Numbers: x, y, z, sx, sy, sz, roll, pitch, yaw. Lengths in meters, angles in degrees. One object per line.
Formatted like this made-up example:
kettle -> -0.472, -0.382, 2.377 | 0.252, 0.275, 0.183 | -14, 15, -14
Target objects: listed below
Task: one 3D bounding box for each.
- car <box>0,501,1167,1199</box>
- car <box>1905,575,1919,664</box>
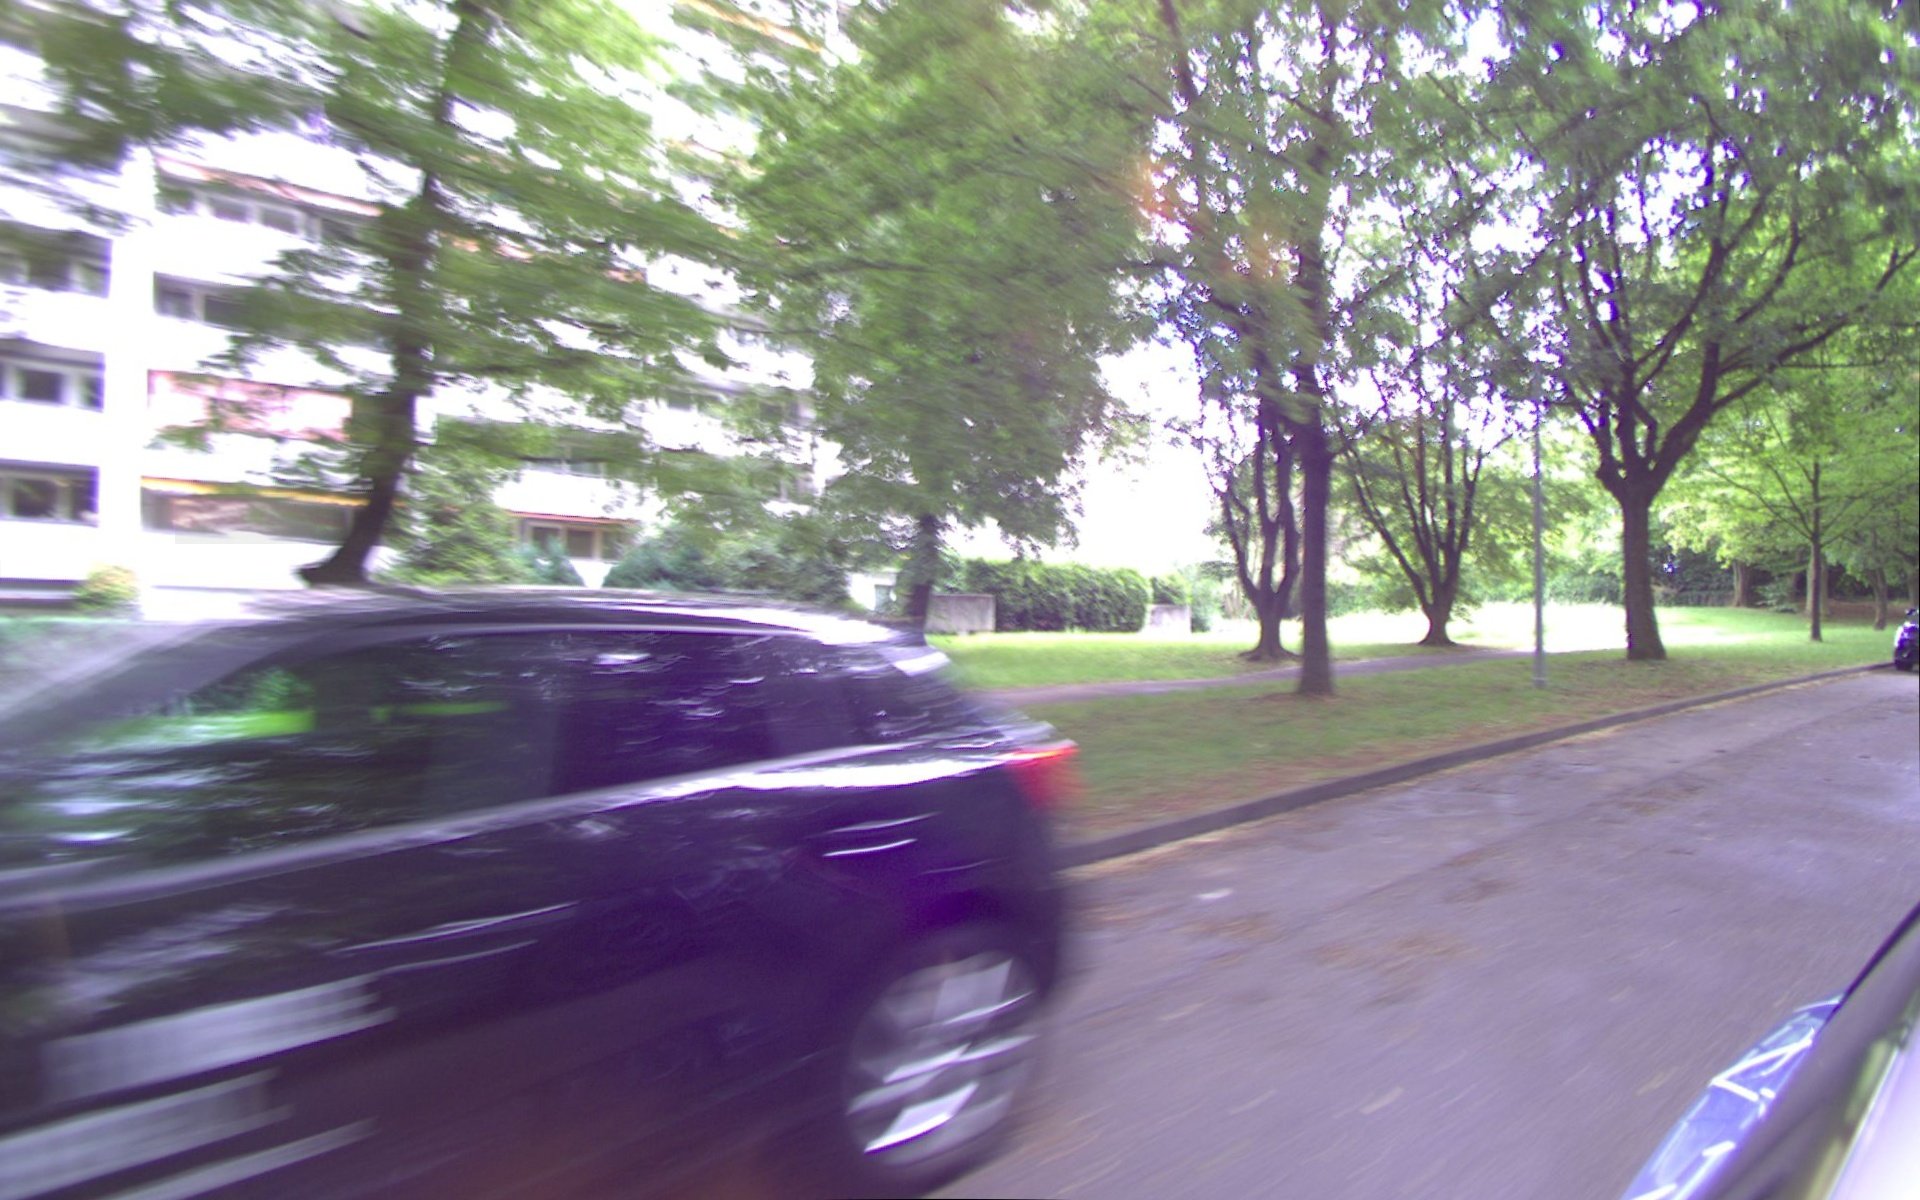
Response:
car -> -1.556, 0.650, 2.235 | 4.109, 1.542, 1.777 | 0, -1, -40
car -> 17.955, 0.309, 17.453 | 3.824, 1.483, 1.687 | 0, -1, -36
